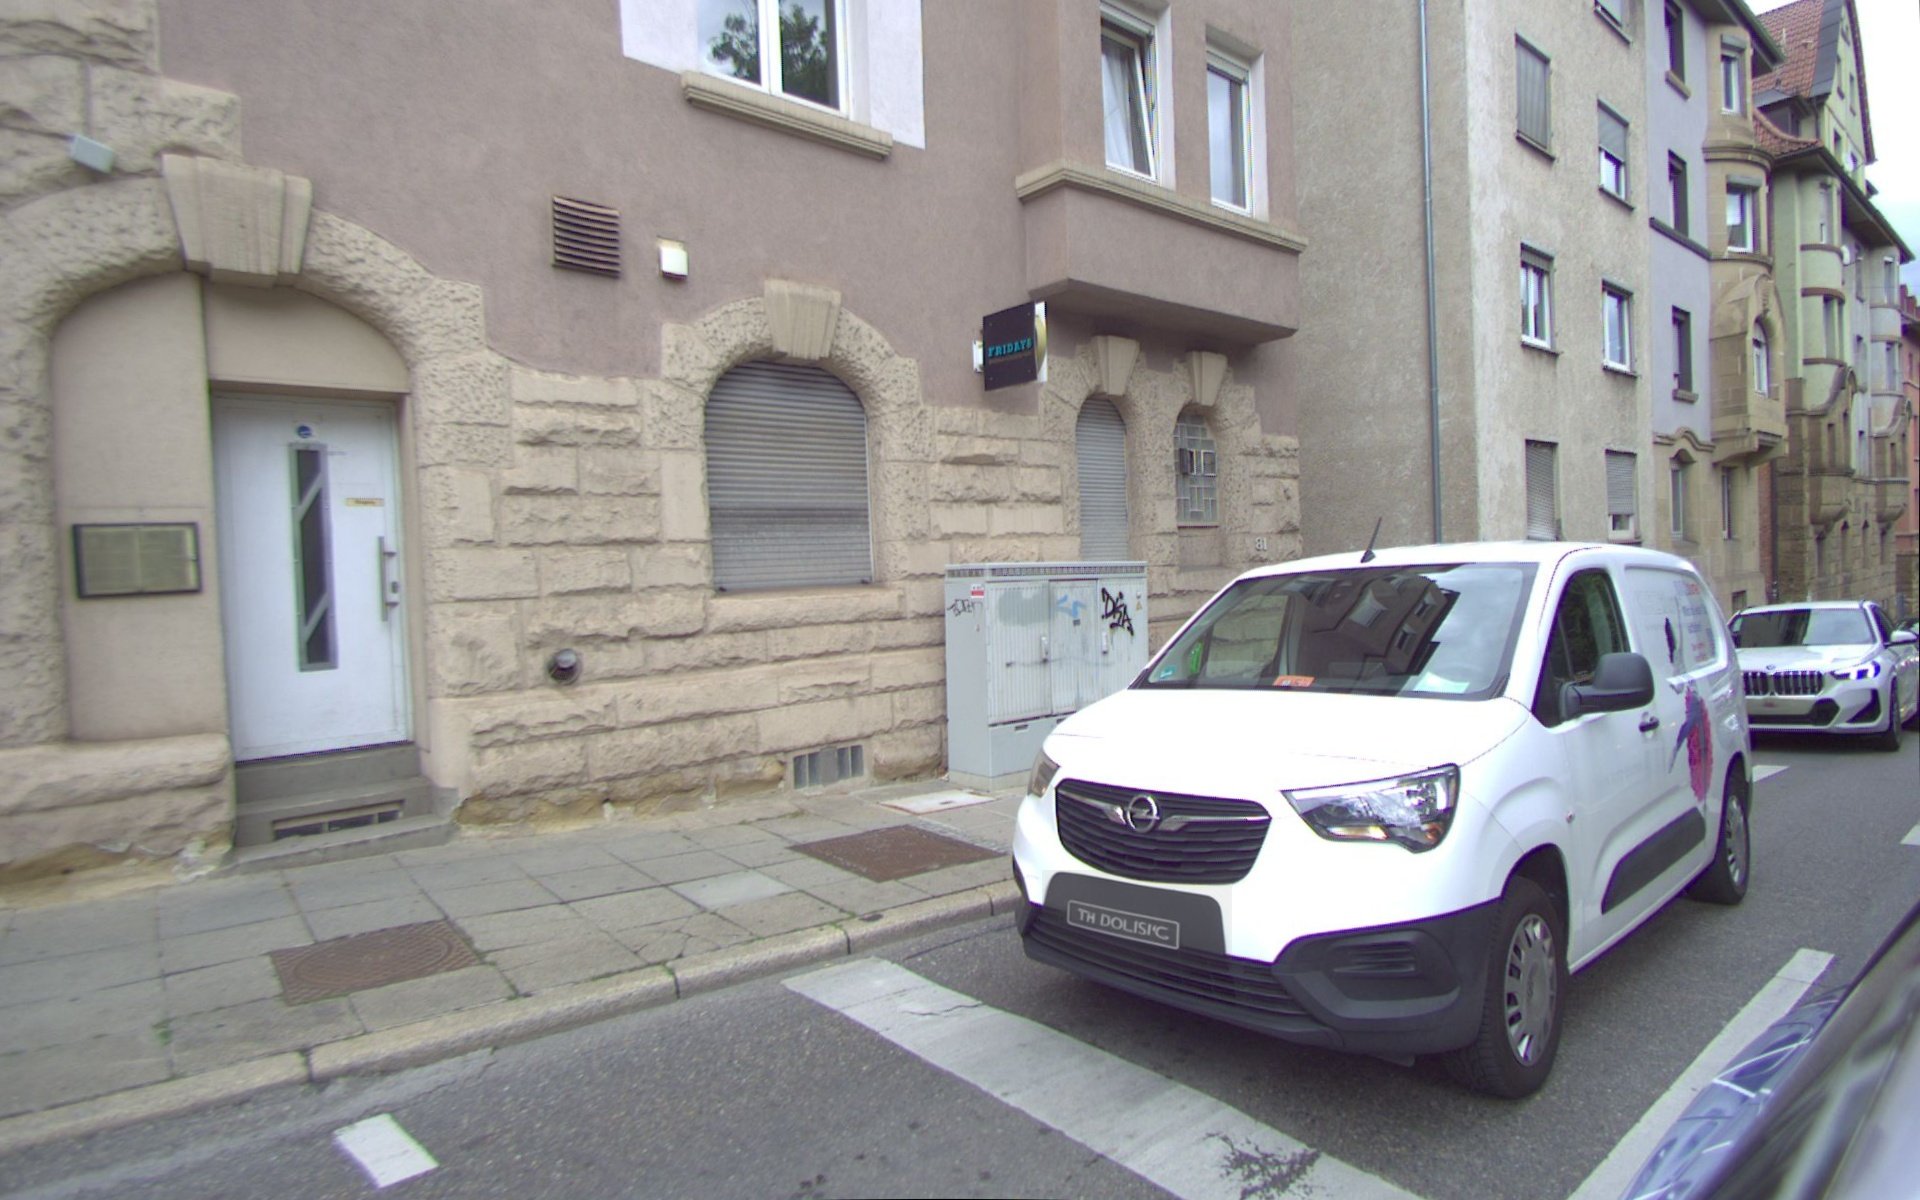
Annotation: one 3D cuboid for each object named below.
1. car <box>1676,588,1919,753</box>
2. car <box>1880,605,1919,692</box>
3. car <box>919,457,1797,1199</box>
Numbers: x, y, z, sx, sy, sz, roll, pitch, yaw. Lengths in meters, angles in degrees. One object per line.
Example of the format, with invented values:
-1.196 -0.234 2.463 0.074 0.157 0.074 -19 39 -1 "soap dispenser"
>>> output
10.214 0.738 12.020 4.090 1.628 1.778 0 -3 -41 "car"
17.908 0.785 17.967 4.090 1.461 1.778 0 -3 -41 "car"
2.228 0.569 4.685 4.761 1.812 1.786 -1 -2 -42 "car"
